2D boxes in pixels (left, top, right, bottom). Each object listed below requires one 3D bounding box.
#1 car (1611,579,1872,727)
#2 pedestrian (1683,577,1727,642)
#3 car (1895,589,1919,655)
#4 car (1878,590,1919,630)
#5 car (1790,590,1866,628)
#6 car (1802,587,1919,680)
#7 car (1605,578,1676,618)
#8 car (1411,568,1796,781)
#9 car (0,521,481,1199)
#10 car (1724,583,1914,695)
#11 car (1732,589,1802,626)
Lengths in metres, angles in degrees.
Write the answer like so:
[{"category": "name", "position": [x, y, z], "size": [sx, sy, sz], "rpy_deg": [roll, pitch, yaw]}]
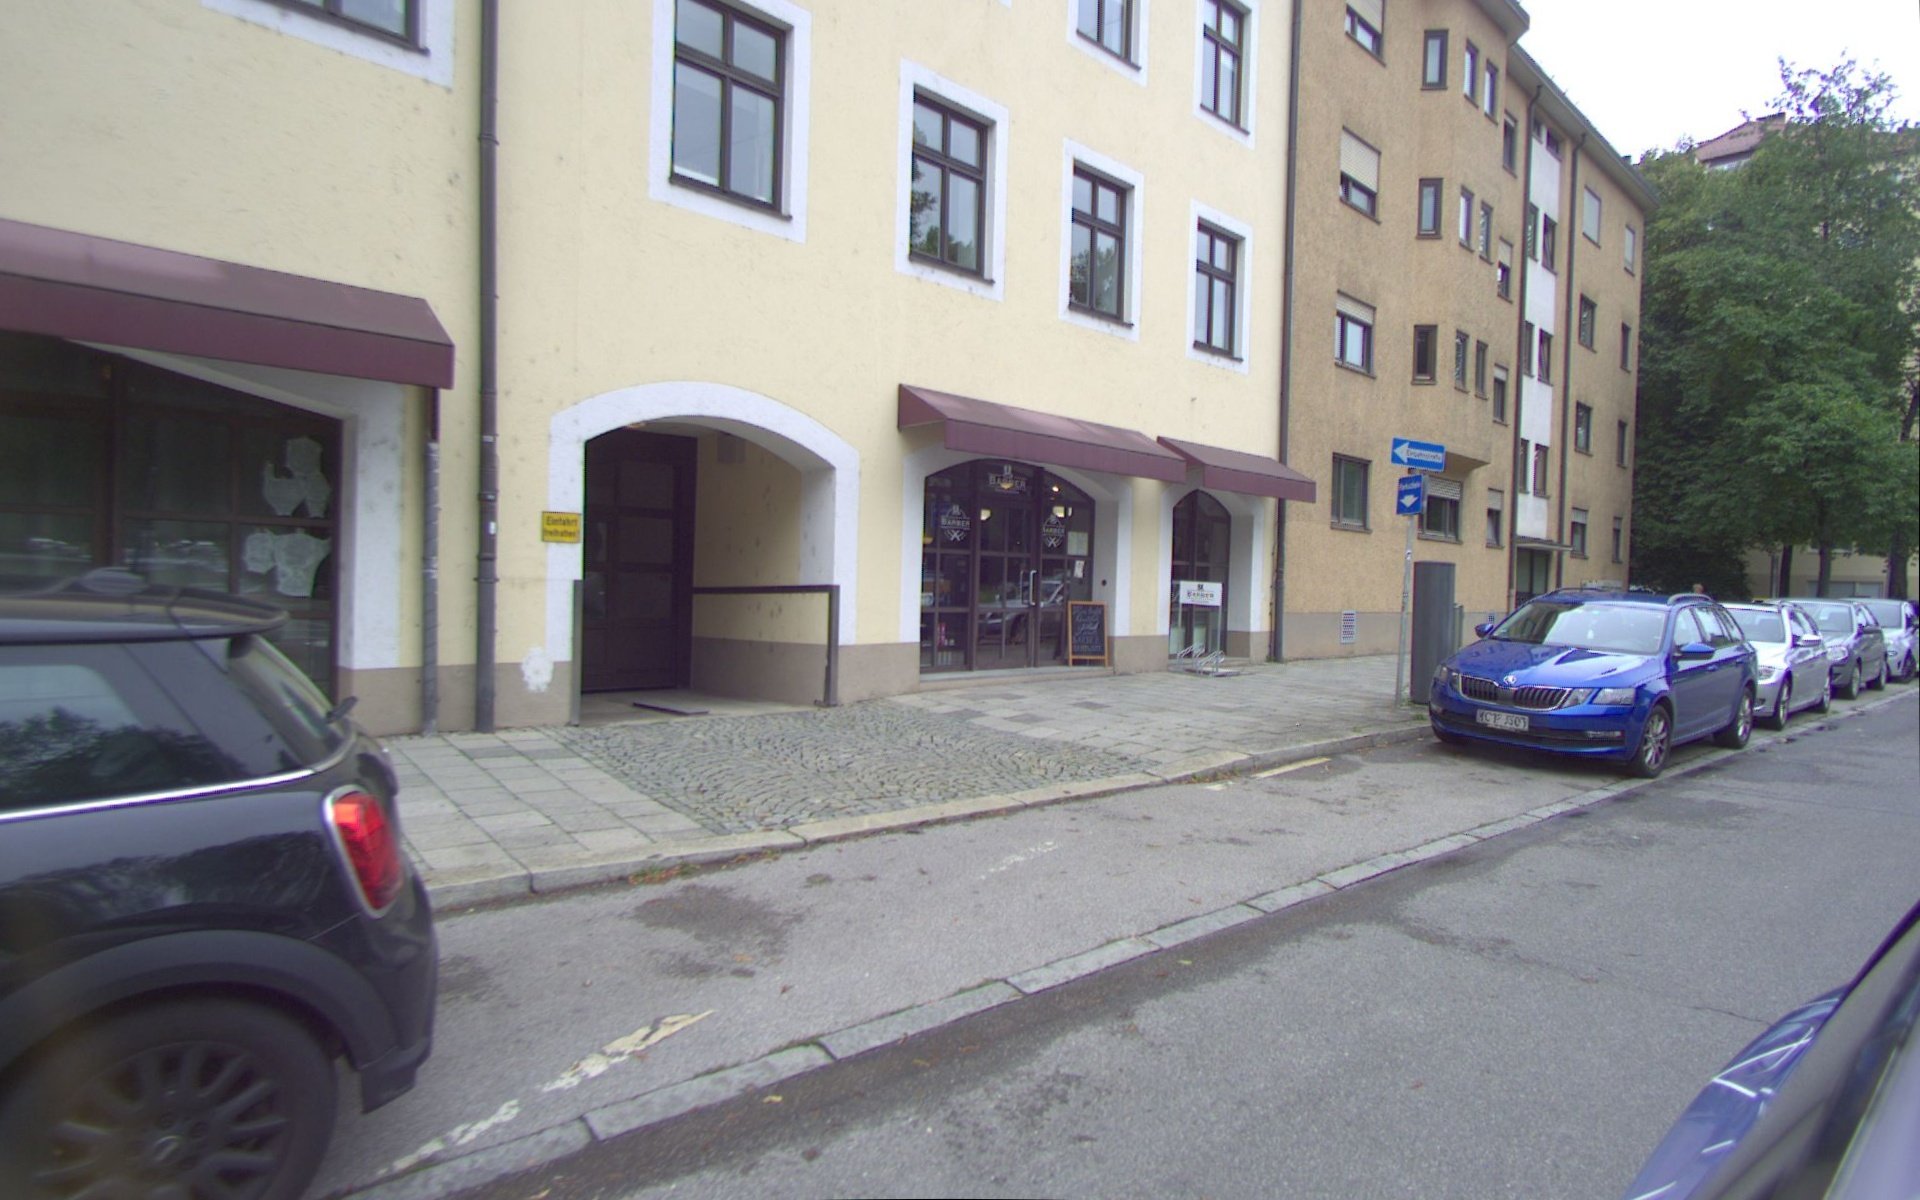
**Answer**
[{"category": "car", "position": [10.046, 0.563, 12.887], "size": [4.355, 1.514, 1.695], "rpy_deg": [0, 3, -40]}, {"category": "pedestrian", "position": [19.602, 0.236, 26.623], "size": [0.963, 1.644, 0.672], "rpy_deg": [-1, 2, -39]}, {"category": "car", "position": [24.544, 0.581, 24.809], "size": [4.299, 1.514, 1.796], "rpy_deg": [0, 5, -40]}, {"category": "car", "position": [40.188, 0.408, 42.738], "size": [4.175, 1.584, 1.822], "rpy_deg": [0, 2, -44]}, {"category": "car", "position": [37.294, 0.375, 43.452], "size": [4.175, 1.485, 2.050], "rpy_deg": [0, 2, -44]}, {"category": "car", "position": [17.380, 0.566, 19.062], "size": [3.752, 1.514, 1.632], "rpy_deg": [0, 3, -40]}, {"category": "car", "position": [32.740, -0.095, 48.646], "size": [4.174, 1.772, 1.914], "rpy_deg": [0, 2, -43]}, {"category": "car", "position": [6.238, 0.540, 9.595], "size": [4.407, 1.514, 1.761], "rpy_deg": [0, 3, -40]}, {"category": "car", "position": [-3.126, 0.564, 1.882], "size": [3.752, 1.514, 1.762], "rpy_deg": [0, 3, -37]}, {"category": "car", "position": [13.755, 0.551, 16.140], "size": [3.719, 1.514, 1.632], "rpy_deg": [0, 3, -40]}, {"category": "car", "position": [35.900, 0.300, 44.977], "size": [4.175, 1.485, 1.914], "rpy_deg": [0, 2, -44]}]
